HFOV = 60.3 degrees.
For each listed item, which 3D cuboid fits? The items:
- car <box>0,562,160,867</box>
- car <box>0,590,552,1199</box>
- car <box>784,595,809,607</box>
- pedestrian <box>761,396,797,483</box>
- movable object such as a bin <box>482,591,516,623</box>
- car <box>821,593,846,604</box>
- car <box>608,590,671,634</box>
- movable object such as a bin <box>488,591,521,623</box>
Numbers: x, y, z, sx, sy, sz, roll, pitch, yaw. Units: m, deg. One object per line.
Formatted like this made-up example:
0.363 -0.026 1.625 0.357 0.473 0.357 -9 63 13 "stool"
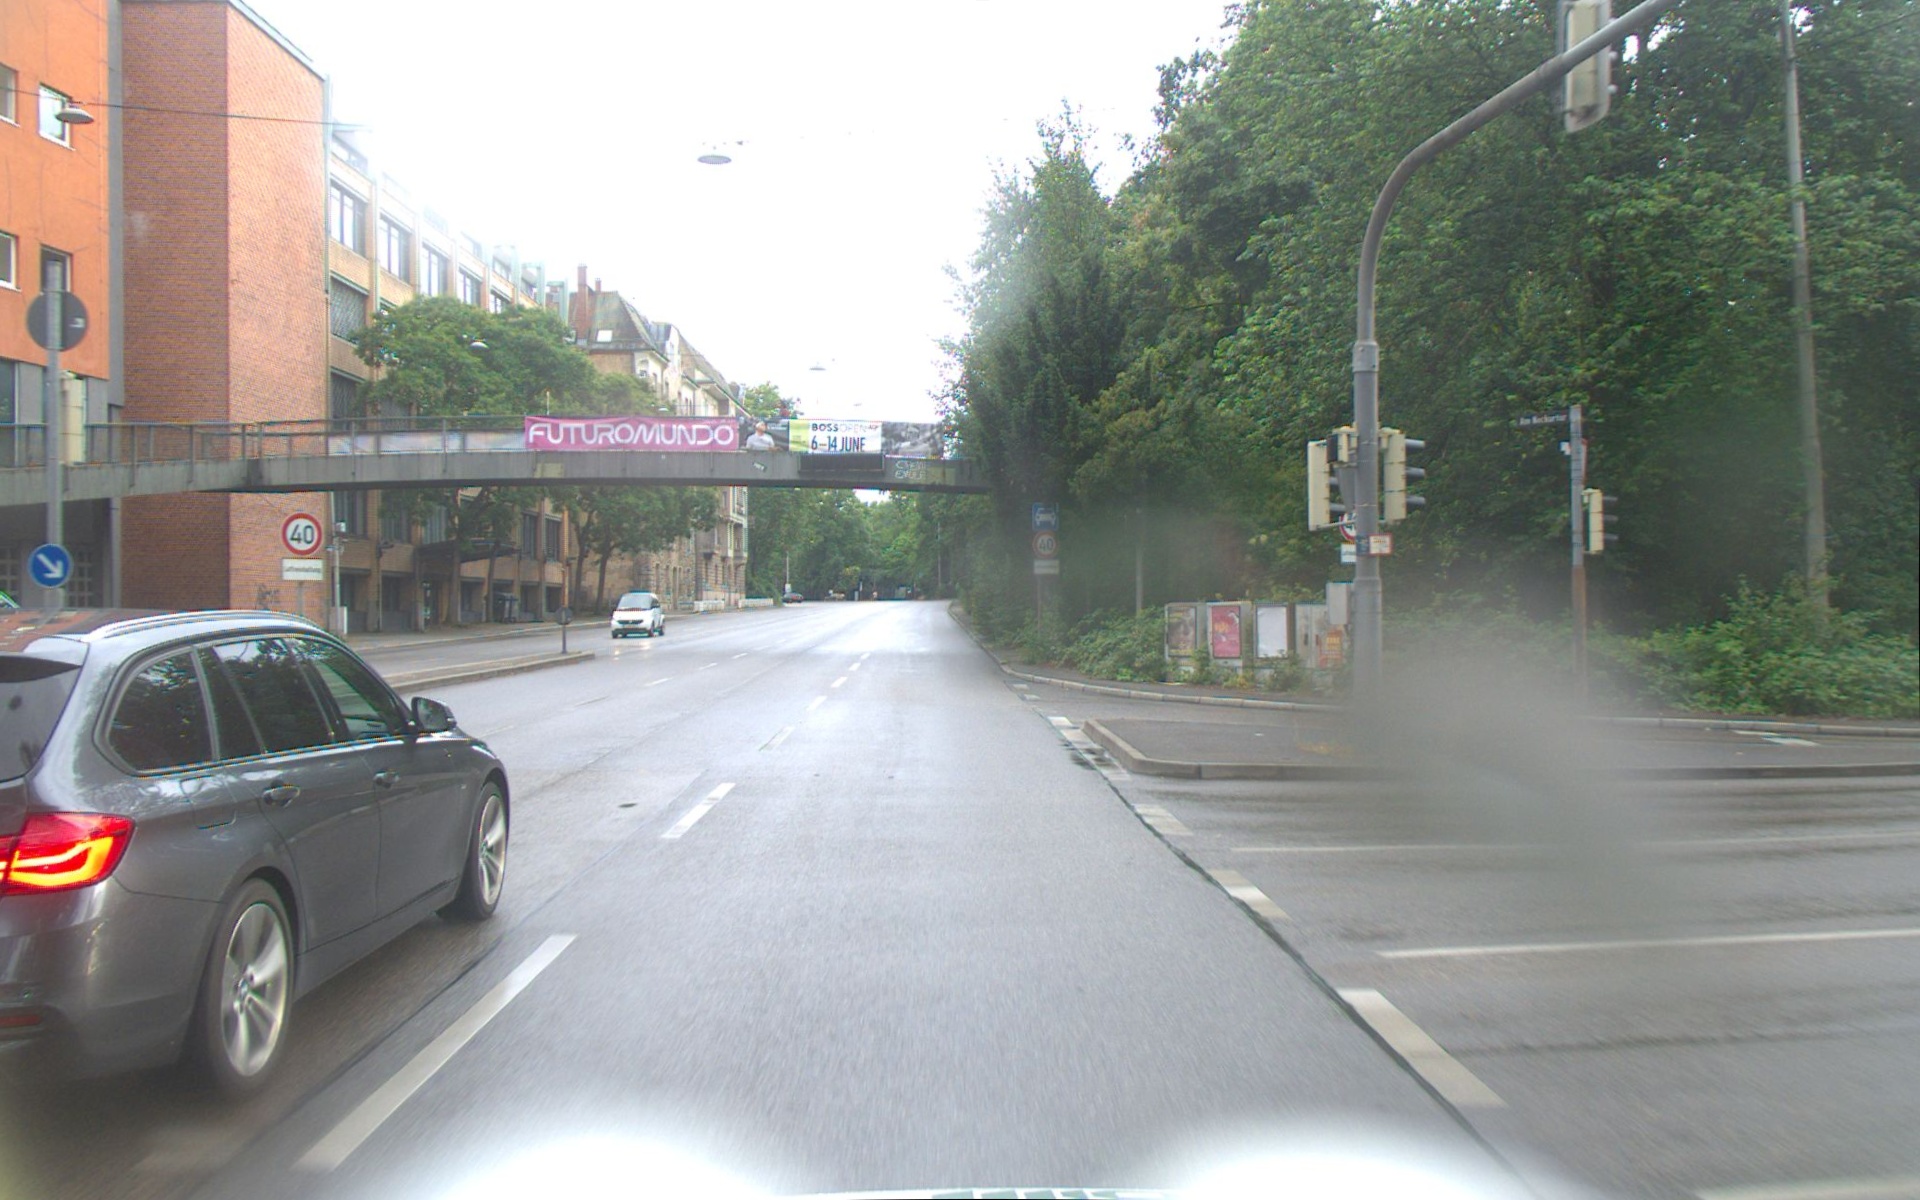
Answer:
-6.159 0.611 8.720 1.772 1.685 4.443 1 0 -1 "car"
-2.885 0.723 5.959 1.740 1.483 4.477 0 0 0 "car"
-23.408 0.149 236.644 1.985 1.672 4.328 0 0 -32 "car"
-5.316 -4.695 48.553 0.936 2.386 1.005 2 -1 -7 "pedestrian"
-21.988 0.332 78.871 1.256 1.545 1.273 0 0 -1 "movable object such as a bin"
-18.819 -0.207 245.600 3.514 1.574 1.613 2 0 0 "car"
-11.516 0.427 59.646 1.568 1.525 3.711 -1 0 -1 "car"
-22.213 0.344 80.599 1.272 1.545 1.214 0 0 -1 "movable object such as a bin"
